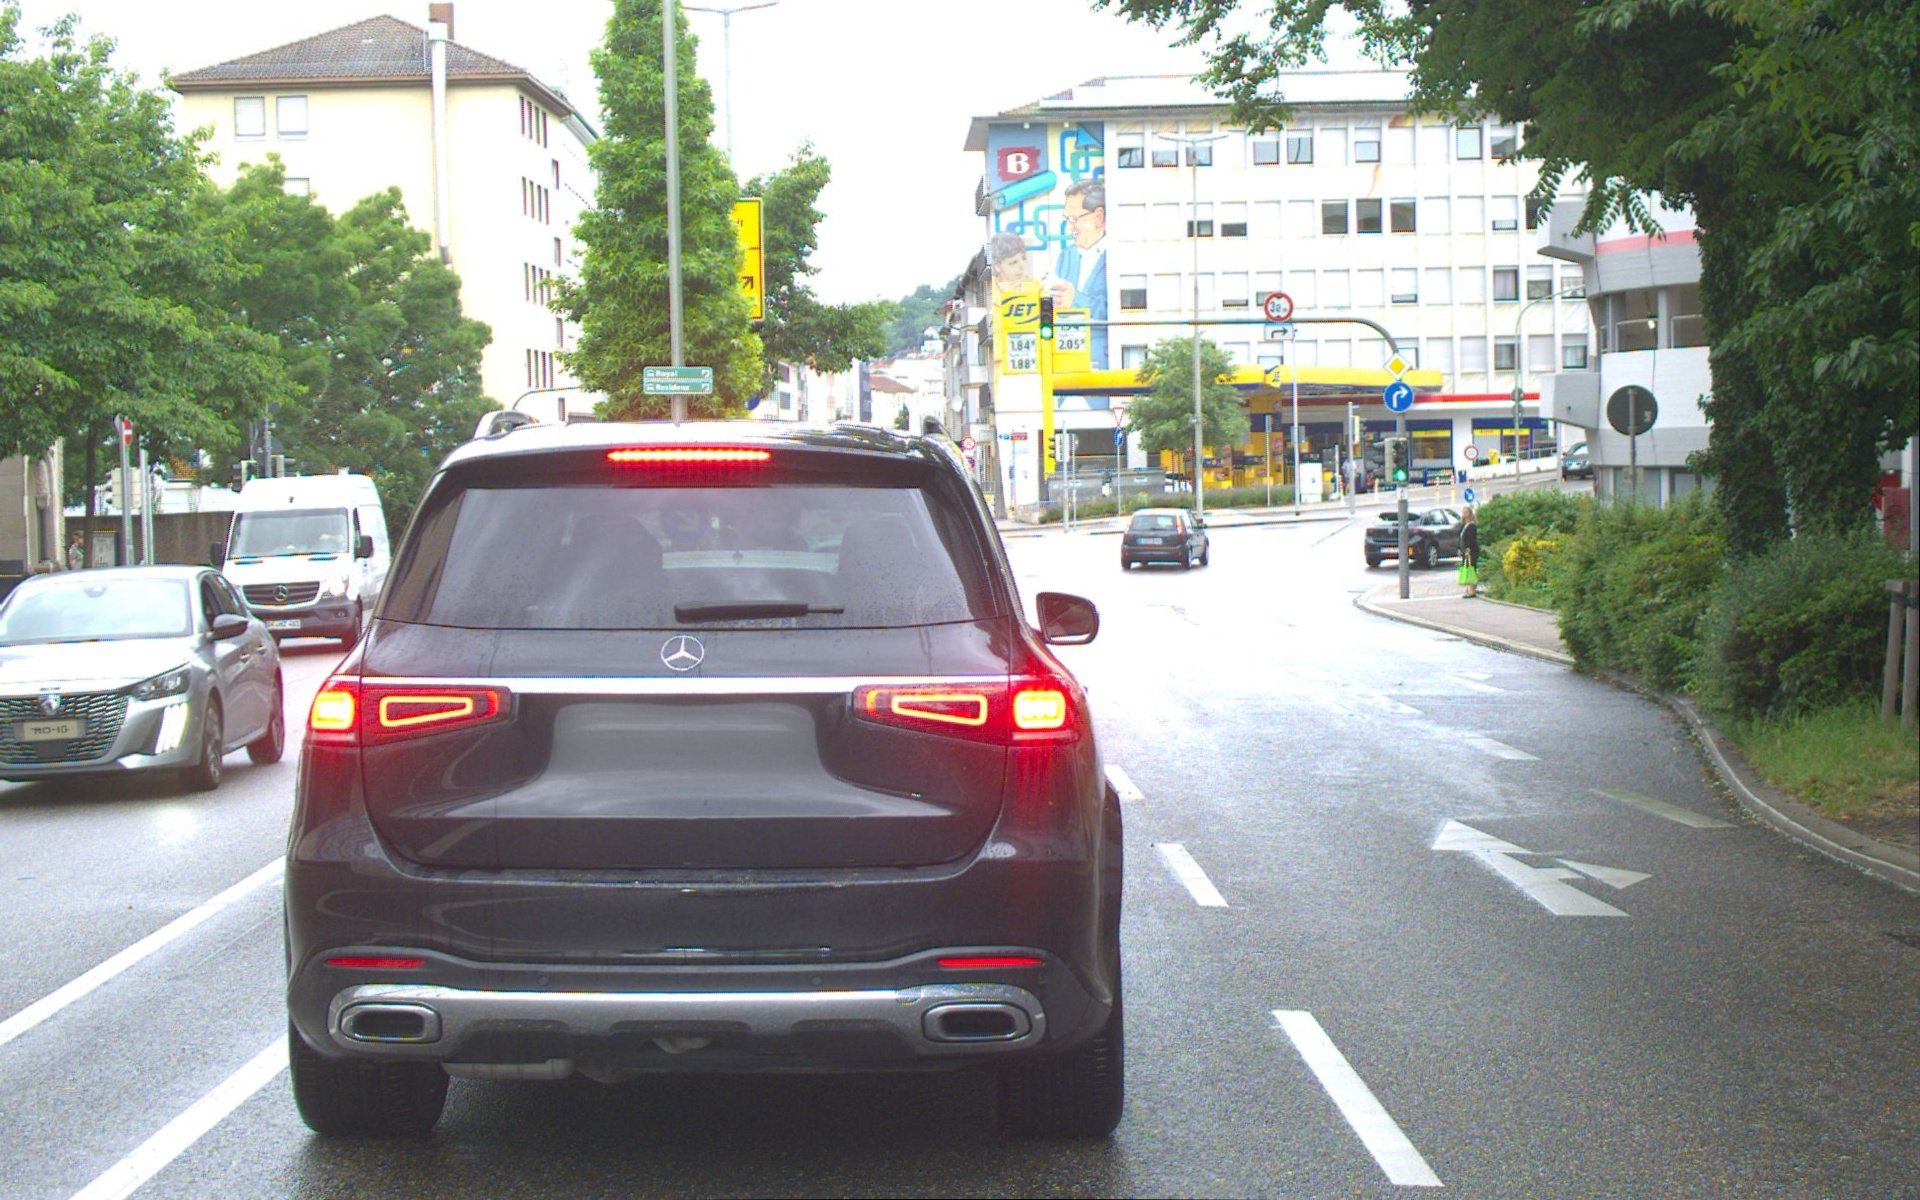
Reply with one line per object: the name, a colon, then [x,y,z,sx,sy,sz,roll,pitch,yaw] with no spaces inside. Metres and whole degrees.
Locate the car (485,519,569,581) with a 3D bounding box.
car: [-10.807,-1.238,86.070,1.797,1.489,3.804,1,1,-3]

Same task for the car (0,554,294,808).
car: [-5.594,0.475,22.691,1.741,1.465,3.883,-3,1,-3]

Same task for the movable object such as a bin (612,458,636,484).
movable object such as a bin: [-13.796,-5.301,141.128,0.910,1.034,0.844,1,0,1]

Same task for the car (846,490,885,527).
car: [-5.260,-5.106,192.006,1.993,2.007,4.000,1,1,0]

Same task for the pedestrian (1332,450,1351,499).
pedestrian: [13.325,-4.386,120.208,0.572,1.691,0.631,1,0,1]

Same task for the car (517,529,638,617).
car: [-6.994,-0.515,63.246,1.883,1.492,4.563,-2,1,-3]

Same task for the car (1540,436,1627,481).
car: [25.113,-5.701,138.389,1.997,1.700,3.993,0,2,33]

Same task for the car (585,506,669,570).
car: [-8.235,-1.522,85.342,1.811,1.457,4.289,-3,1,-3]

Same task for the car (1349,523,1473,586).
car: [11.073,-1.102,84.173,1.948,1.481,3.995,1,1,24]

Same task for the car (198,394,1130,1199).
car: [-0.664,0.444,9.446,1.993,1.794,4.000,1,1,-1]

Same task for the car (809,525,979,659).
car: [-0.774,-0.111,41.116,1.907,1.496,4.000,1,1,-1]

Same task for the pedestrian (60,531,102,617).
pedestrian: [-17.030,-0.504,66.612,0.642,1.660,1.019,1,0,-6]

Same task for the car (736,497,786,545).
car: [-7.830,-3.097,135.325,1.868,1.833,3.820,1,1,-2]

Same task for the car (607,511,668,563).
car: [-10.877,-2.099,116.078,1.905,1.697,4.001,1,1,-3]

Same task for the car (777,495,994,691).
car: [-0.718,-0.087,33.931,1.993,1.794,4.000,1,1,-1]

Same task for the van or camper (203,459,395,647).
van or camper: [-9.872,-0.720,51.789,2.101,2.573,5.909,-3,1,-5]

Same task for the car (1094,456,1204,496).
car: [7.054,-4.614,128.528,1.732,1.371,3.998,-4,3,-44]

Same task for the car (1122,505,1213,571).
car: [5.029,-1.514,83.032,1.797,1.520,4.054,1,2,9]

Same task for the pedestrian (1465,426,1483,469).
pedestrian: [20.431,-6.059,136.693,0.526,1.721,0.688,0,2,26]

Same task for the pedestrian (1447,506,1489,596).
pedestrian: [9.652,-0.924,65.317,0.646,1.704,0.470,1,0,36]
